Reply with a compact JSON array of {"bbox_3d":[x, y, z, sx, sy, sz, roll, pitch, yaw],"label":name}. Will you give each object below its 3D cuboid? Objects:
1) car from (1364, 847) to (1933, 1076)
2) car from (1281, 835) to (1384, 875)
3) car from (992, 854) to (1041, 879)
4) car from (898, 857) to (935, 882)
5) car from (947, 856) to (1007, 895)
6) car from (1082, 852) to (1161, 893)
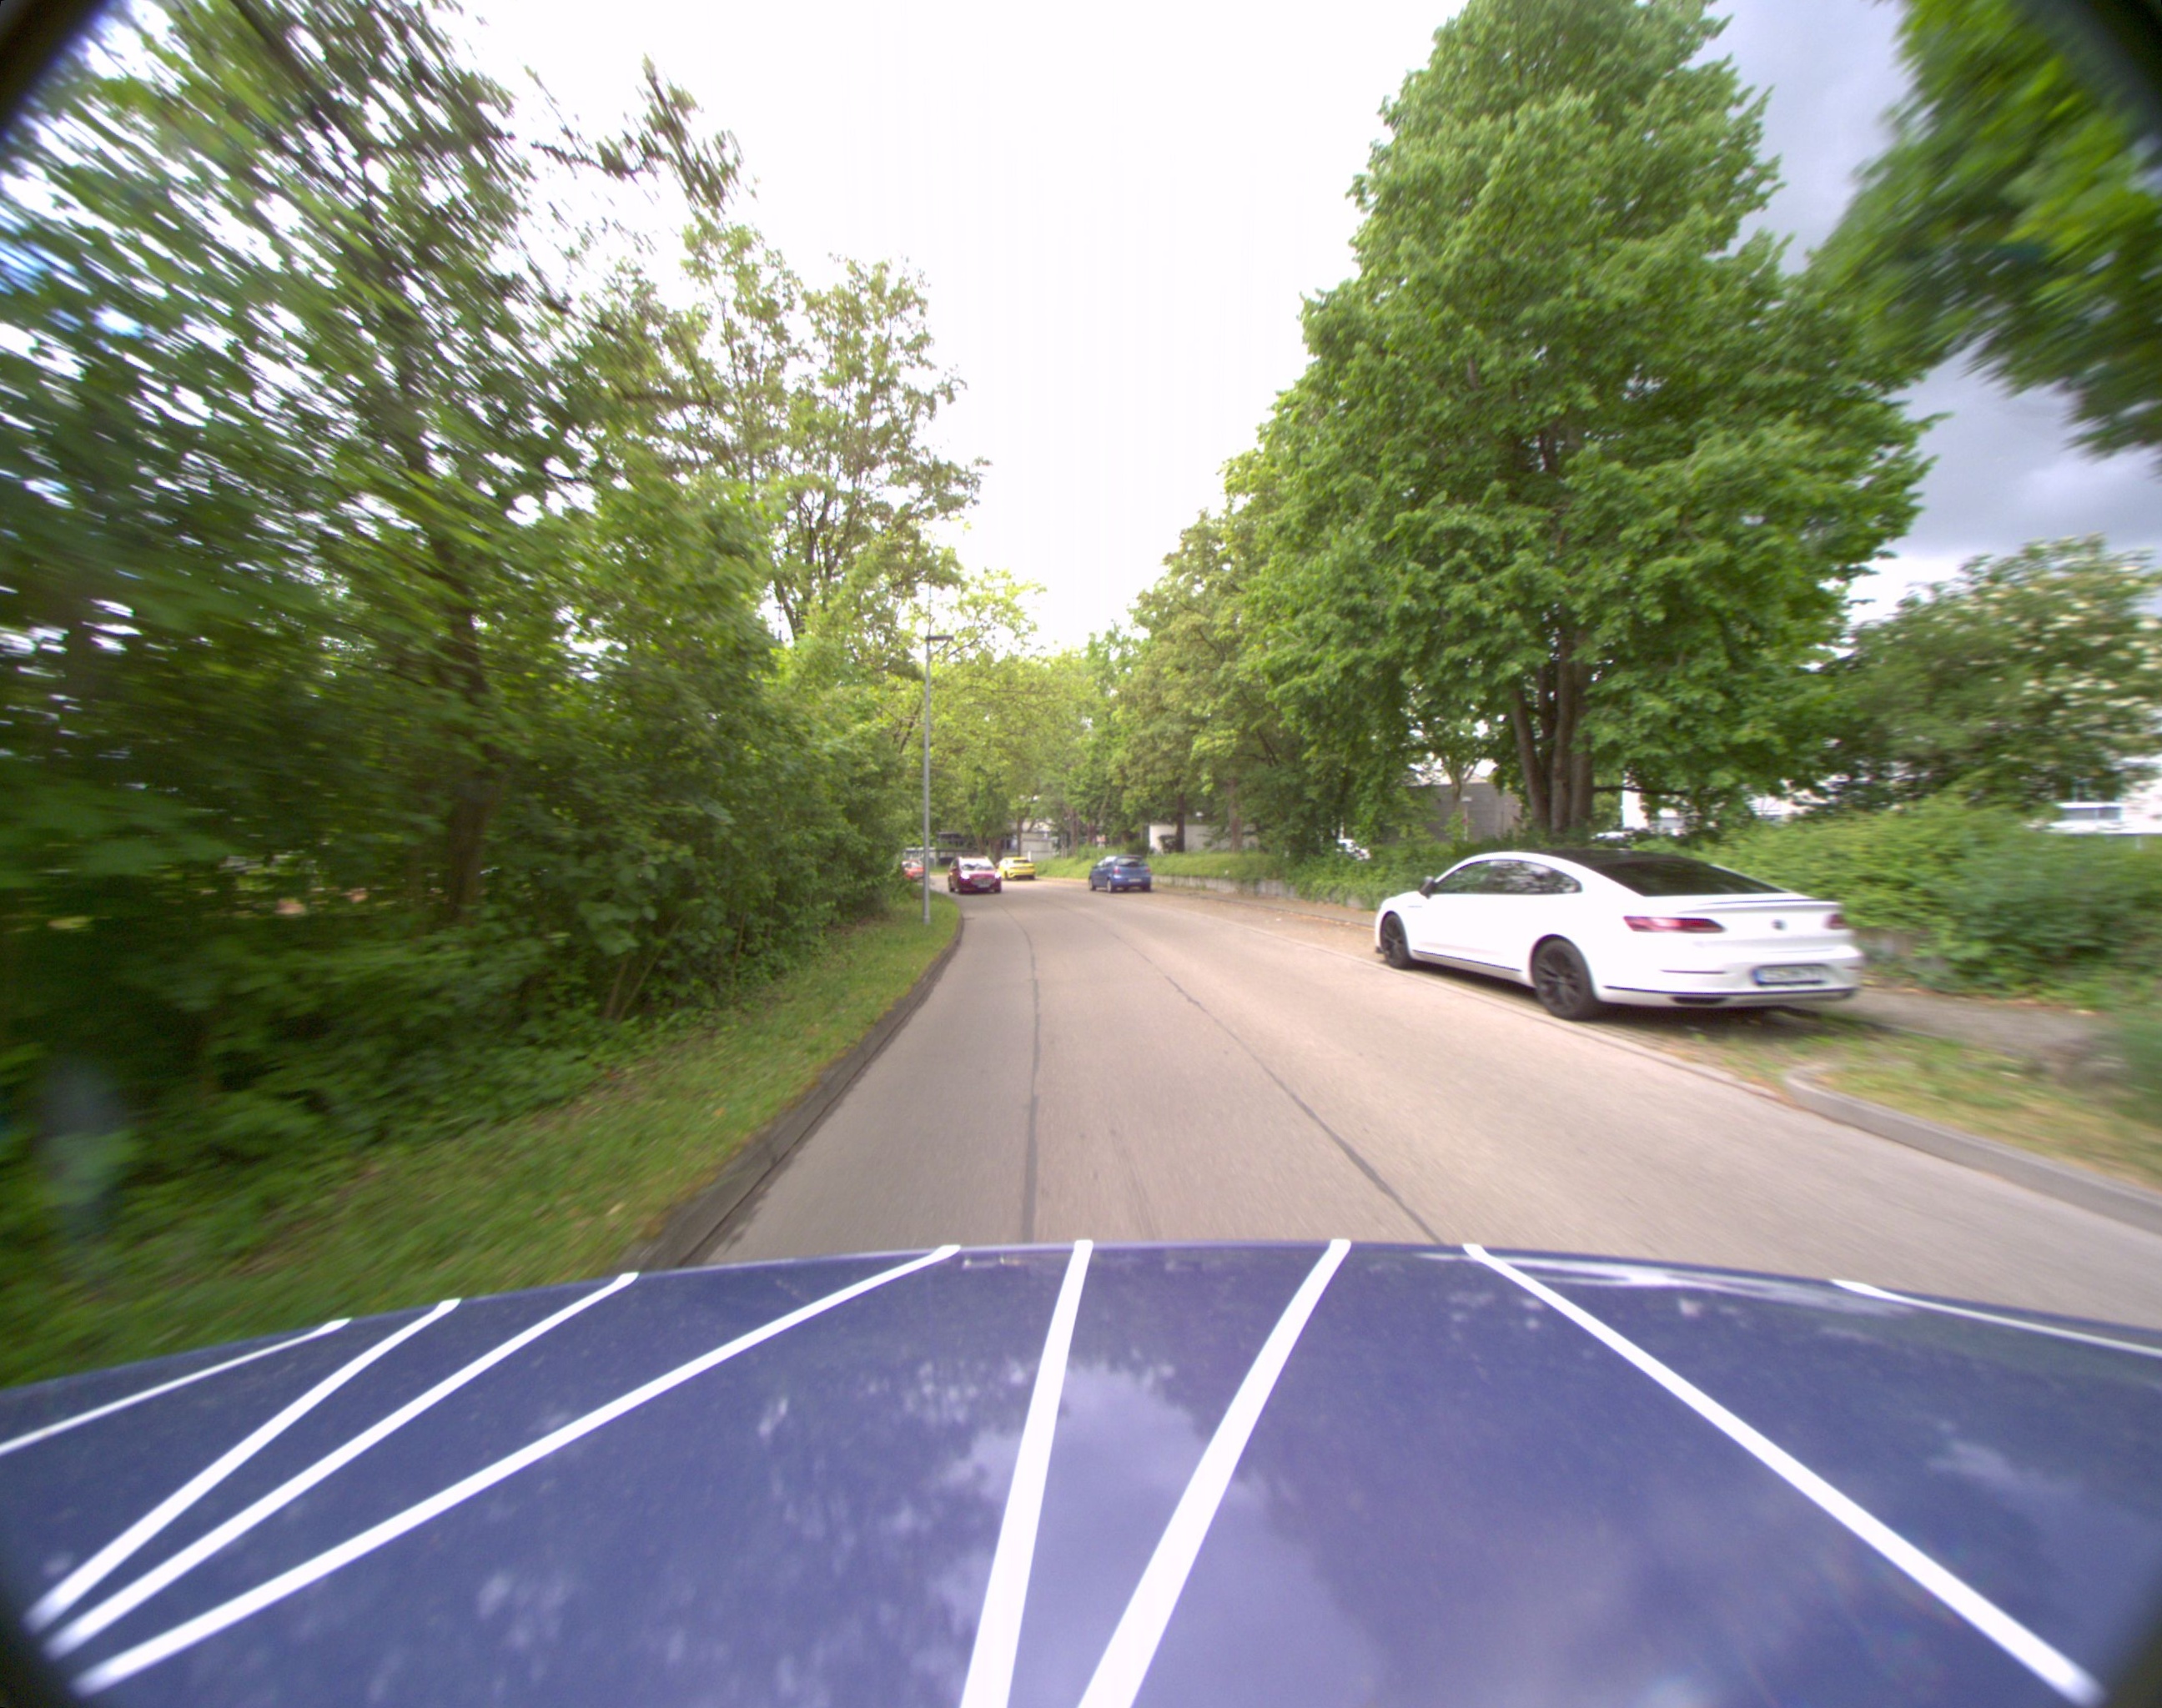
[{"bbox_3d":[4.700,0.709,7.410,1.853,1.483,4.634,-1,0,-4],"label":"car"},{"bbox_3d":[10.967,0.053,33.229,3.801,1.629,2.004,-1,2,39],"label":"car"},{"bbox_3d":[-4.048,0.762,47.266,1.856,1.483,3.992,-1,0,-22],"label":"car"},{"bbox_3d":[-11.224,1.024,51.667,1.950,1.522,4.080,-2,0,-18],"label":"car"},{"bbox_3d":[-4.832,0.917,34.792,1.948,1.550,4.349,-2,1,-18],"label":"car"},{"bbox_3d":[1.531,0.704,30.411,1.855,1.483,3.994,-1,0,-17],"label":"car"}]
